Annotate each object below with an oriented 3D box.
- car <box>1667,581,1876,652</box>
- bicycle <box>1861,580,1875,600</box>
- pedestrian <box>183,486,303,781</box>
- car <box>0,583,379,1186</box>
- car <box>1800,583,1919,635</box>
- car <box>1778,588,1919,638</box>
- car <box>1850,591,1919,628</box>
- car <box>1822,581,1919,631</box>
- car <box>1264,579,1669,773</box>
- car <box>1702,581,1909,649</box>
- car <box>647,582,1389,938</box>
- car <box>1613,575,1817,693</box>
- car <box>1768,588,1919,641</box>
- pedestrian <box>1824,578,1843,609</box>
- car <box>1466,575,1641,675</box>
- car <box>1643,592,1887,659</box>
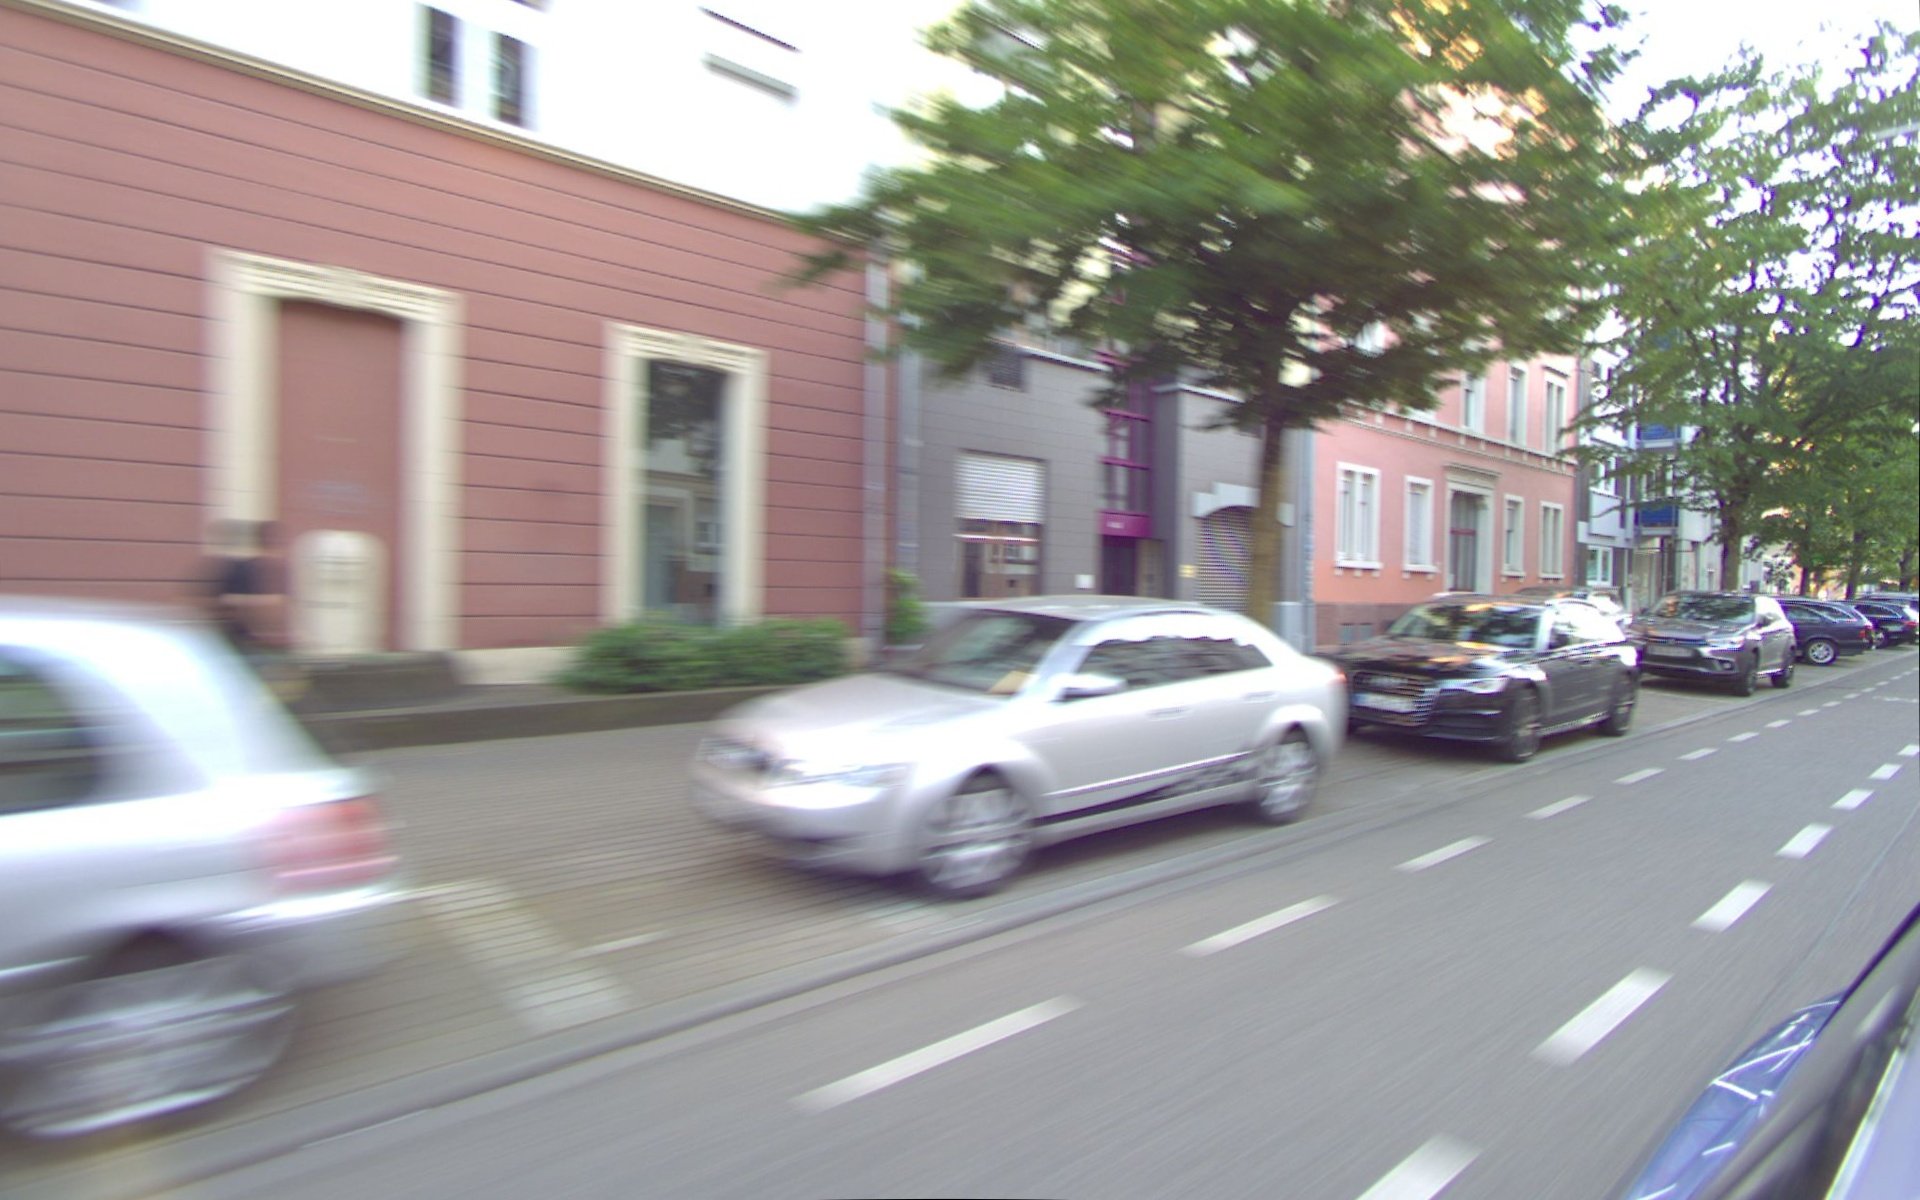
[{"bbox_3d":[20.695,0.389,26.041,3.944,1.573,1.700,3,1,32],"label":"car"},{"bbox_3d":[56.565,-0.635,63.045,1.558,1.225,0.470,0,0,-42],"label":"bicycle"},{"bbox_3d":[-4.791,0.203,6.756,0.589,1.839,0.682,0,1,-40],"label":"pedestrian"},{"bbox_3d":[-3.632,0.688,2.357,3.710,1.398,1.622,0,3,-41],"label":"car"},{"bbox_3d":[32.708,0.318,35.868,4.152,1.717,1.830,3,1,27],"label":"car"},{"bbox_3d":[29.873,0.407,33.599,3.970,1.482,1.700,3,2,32],"label":"car"},{"bbox_3d":[40.793,0.406,43.135,3.966,1.559,1.760,1,1,30],"label":"car"},{"bbox_3d":[36.526,0.246,39.517,3.964,1.838,1.806,3,2,28],"label":"car"},{"bbox_3d":[5.421,0.584,10.496,4.947,1.507,1.997,0,2,-41],"label":"car"},{"bbox_3d":[22.768,0.365,27.463,3.964,1.613,1.703,3,1,28],"label":"car"},{"bbox_3d":[0.631,0.642,6.314,4.606,1.398,1.785,0,3,-39],"label":"car"},{"bbox_3d":[12.745,0.477,16.988,4.189,1.637,1.883,0,4,-42],"label":"car"},{"bbox_3d":[28.208,0.434,31.707,4.377,1.482,1.693,3,2,43],"label":"car"},{"bbox_3d":[52.750,-0.406,61.112,0.600,1.855,0.561,3,0,-4],"label":"pedestrian"},{"bbox_3d":[10.963,0.378,18.574,1.880,1.604,3.956,2,2,44],"label":"car"},{"bbox_3d":[18.976,0.560,24.097,4.216,1.405,1.608,1,1,24],"label":"car"}]
